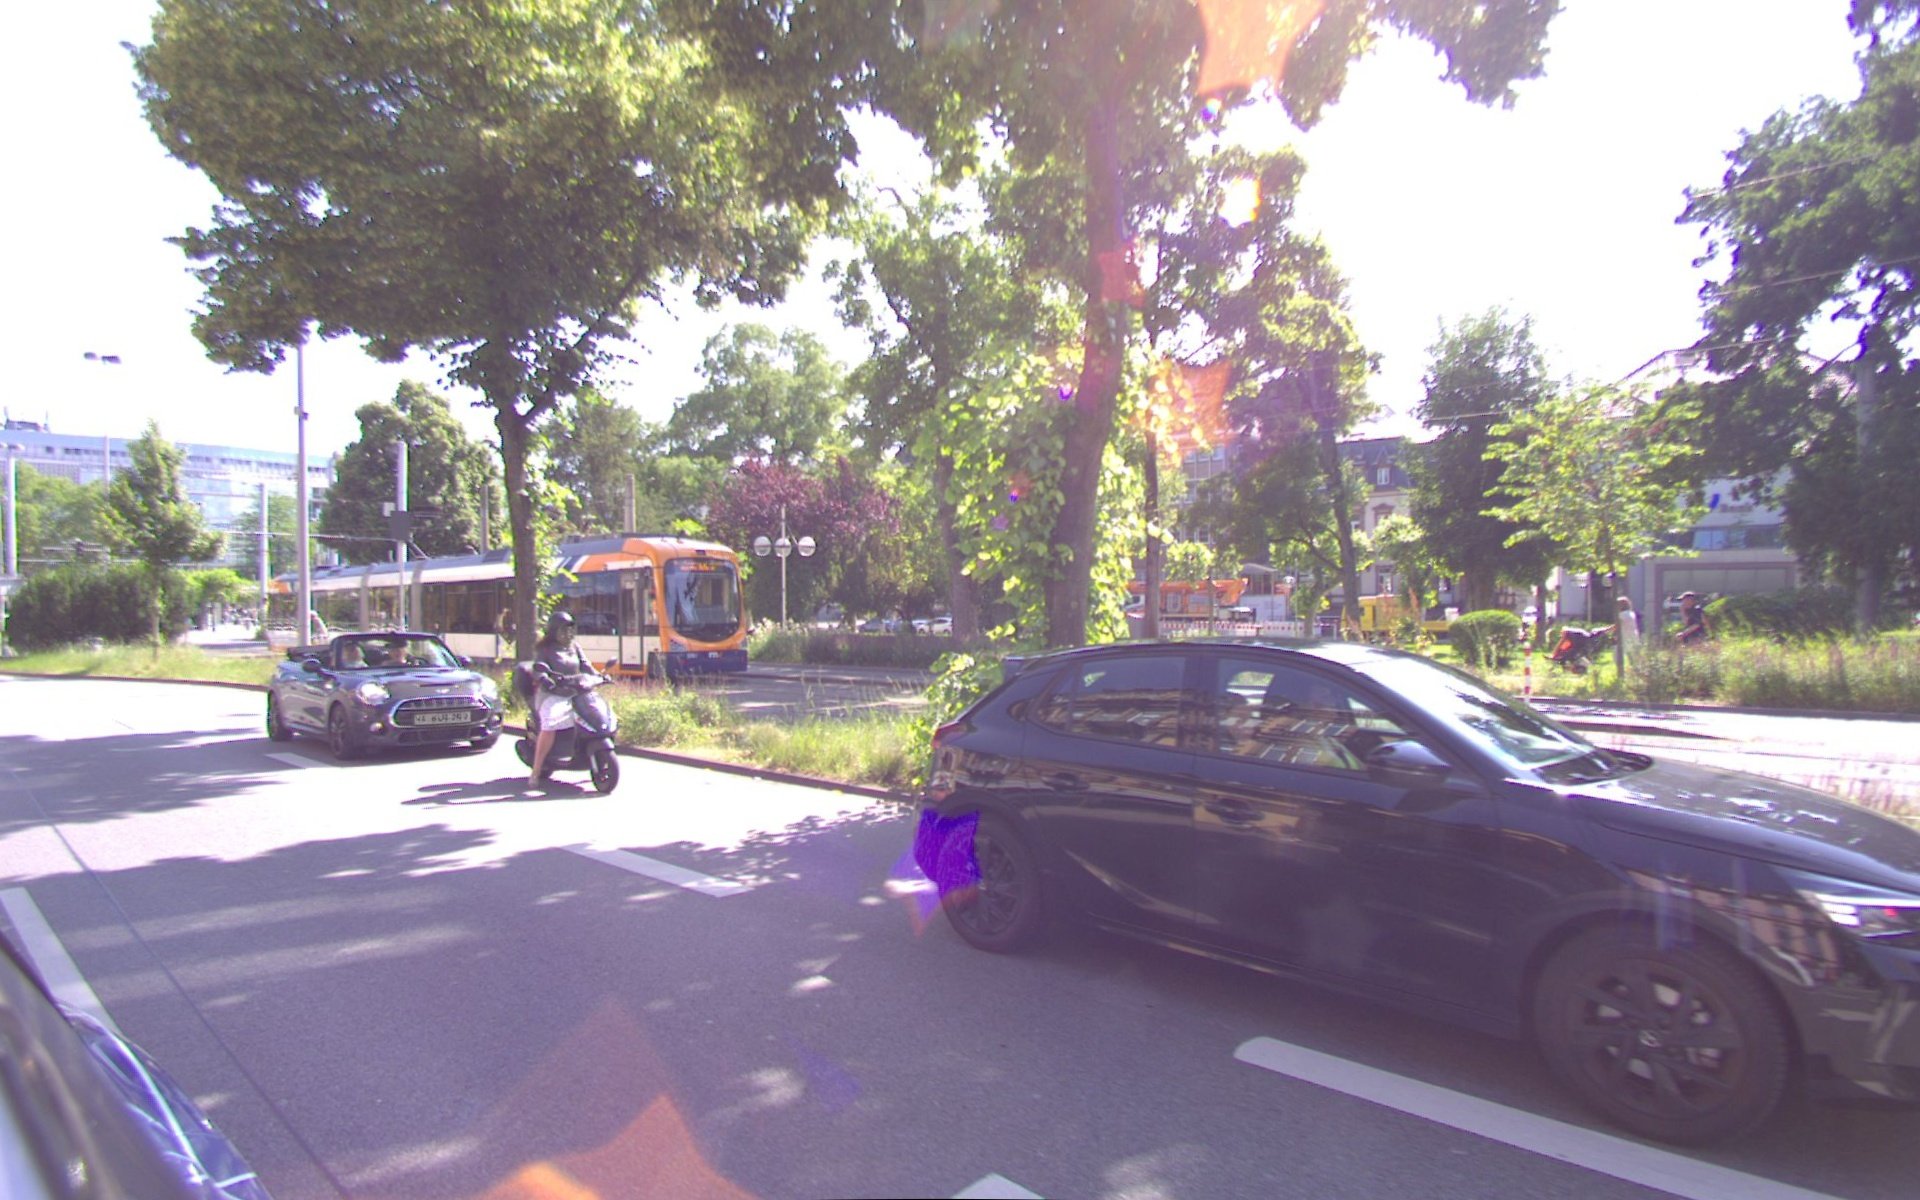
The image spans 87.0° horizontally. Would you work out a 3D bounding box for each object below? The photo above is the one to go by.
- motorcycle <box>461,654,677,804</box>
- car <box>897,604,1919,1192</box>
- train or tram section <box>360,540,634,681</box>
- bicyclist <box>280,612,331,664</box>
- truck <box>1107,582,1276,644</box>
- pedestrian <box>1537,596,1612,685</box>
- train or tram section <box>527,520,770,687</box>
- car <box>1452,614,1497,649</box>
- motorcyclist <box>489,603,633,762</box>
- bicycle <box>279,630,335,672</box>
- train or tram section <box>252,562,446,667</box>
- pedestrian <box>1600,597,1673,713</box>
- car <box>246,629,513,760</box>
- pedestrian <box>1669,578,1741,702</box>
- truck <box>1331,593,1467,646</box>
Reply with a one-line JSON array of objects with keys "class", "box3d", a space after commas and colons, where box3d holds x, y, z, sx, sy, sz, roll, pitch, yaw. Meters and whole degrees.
[{"class": "motorcycle", "box3d": [-3.687, 1.117, 9.423, 2.352, 1.172, 0.891, -2, -2, 41]}, {"class": "car", "box3d": [1.776, 0.757, 4.137, 3.999, 1.422, 1.774, -1, -2, 42]}, {"class": "train or tram section", "box3d": [-14.070, 0.400, 29.837, 12.409, 3.429, 2.730, -2, -2, 42]}, {"class": "bicyclist", "box3d": [-18.302, 1.051, 28.293, 1.232, 1.404, 0.901, -2, -2, 41]}, {"class": "truck", "box3d": [17.037, 1.020, 75.219, 11.787, 4.295, 3.588, -1, -2, 36]}, {"class": "pedestrian", "box3d": [11.672, 0.753, 19.219, 1.023, 1.632, 0.935, 1, -2, -42]}, {"class": "train or tram section", "box3d": [-7.437, 0.120, 23.794, 5.883, 3.429, 2.731, -2, -1, 41]}, {"class": "car", "box3d": [32.161, 1.955, 63.391, 1.985, 2.029, 4.526, -1, 0, 20]}, {"class": "motorcyclist", "box3d": [-3.718, 0.728, 9.435, 0.992, 1.369, 0.891, -2, -2, 41]}, {"class": "bicycle", "box3d": [-18.244, 1.408, 28.242, 2.495, 1.091, 0.635, -1, 0, 41]}, {"class": "train or tram section", "box3d": [-23.335, 0.617, 38.156, 12.407, 3.429, 2.730, -2, -2, 42]}, {"class": "pedestrian", "box3d": [12.346, 0.973, 18.461, 1.207, 2.029, 0.803, 1, -2, -42]}, {"class": "car", "box3d": [-7.115, 1.021, 12.257, 3.912, 1.318, 1.616, -2, -2, 41]}, {"class": "pedestrian", "box3d": [13.505, 0.708, 18.348, 1.110, 2.167, 0.803, 1, -2, -42]}, {"class": "truck", "box3d": [28.200, 1.288, 65.198, 7.641, 3.240, 2.435, -1, -2, 37]}]
